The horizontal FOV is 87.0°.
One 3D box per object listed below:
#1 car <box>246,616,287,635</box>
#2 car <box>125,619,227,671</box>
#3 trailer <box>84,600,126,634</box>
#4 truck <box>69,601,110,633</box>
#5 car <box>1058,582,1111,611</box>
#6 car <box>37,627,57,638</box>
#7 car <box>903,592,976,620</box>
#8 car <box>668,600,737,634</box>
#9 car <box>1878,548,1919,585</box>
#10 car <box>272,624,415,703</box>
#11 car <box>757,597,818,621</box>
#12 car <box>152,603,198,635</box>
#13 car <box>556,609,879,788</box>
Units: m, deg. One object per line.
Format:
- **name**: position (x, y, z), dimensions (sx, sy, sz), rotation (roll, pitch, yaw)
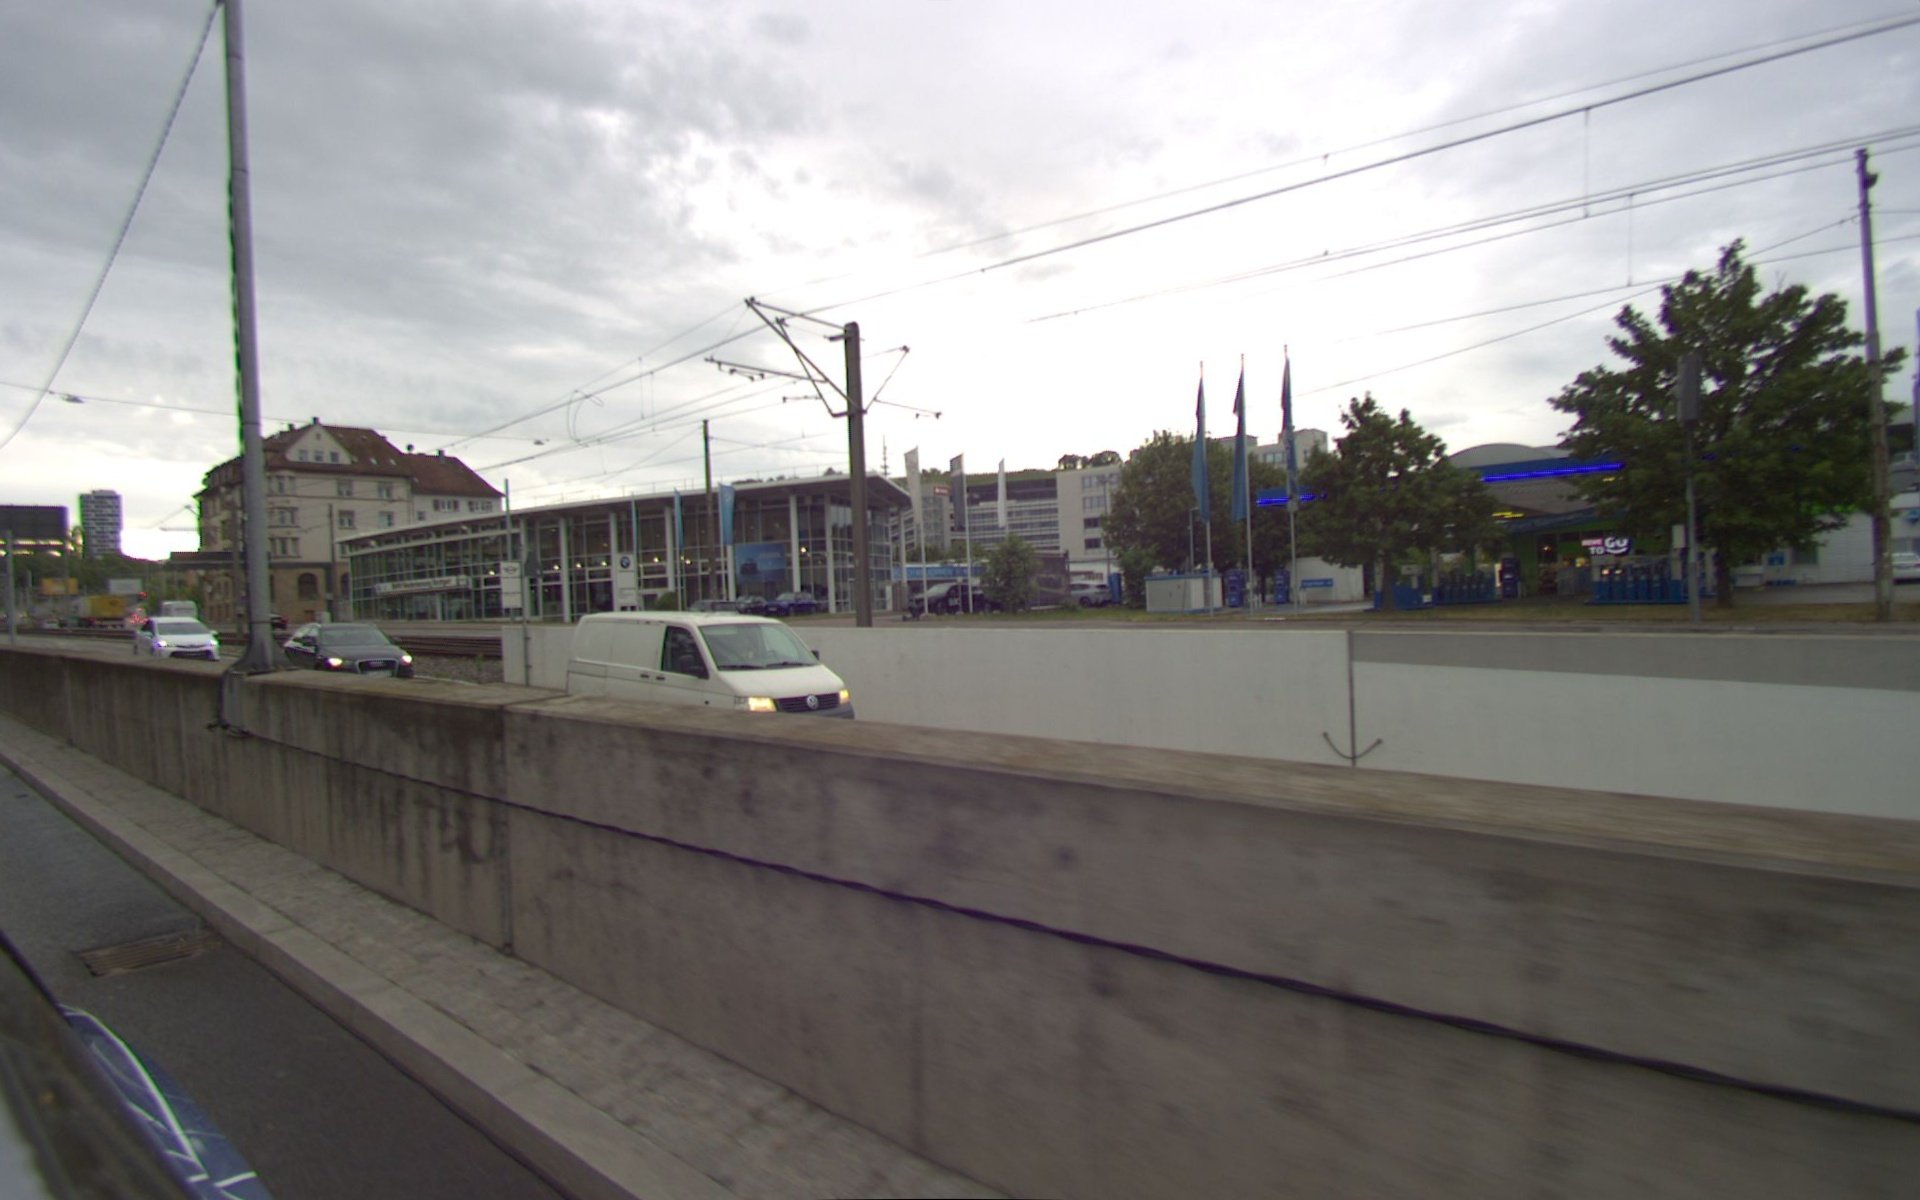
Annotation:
- **car**: position (-56.570, 2.080, 82.555), dimensions (4.338, 1.527, 1.723), rotation (-1, 0, 41)
- **car**: position (-26.640, 1.485, 34.352), dimensions (4.317, 1.585, 1.956), rotation (-2, 0, 41)
- **trailer**: position (-107.811, 2.132, 127.544), dimensions (9.077, 4.082, 2.656), rotation (-1, 0, 41)
- **truck**: position (-115.119, 2.265, 133.770), dimensions (10.136, 4.082, 2.655), rotation (-1, 0, 41)
- **car**: position (7.400, -0.205, 60.372), dimensions (2.798, 1.584, 1.368), rotation (-2, 1, 39)
- **car**: position (-155.674, 5.547, 172.571), dimensions (5.190, 1.888, 1.973), rotation (-2, 0, 41)
- **car**: position (-1.021, 0.299, 51.162), dimensions (1.717, 1.284, 3.476), rotation (-1, 1, 45)
- **car**: position (-10.775, 0.721, 42.279), dimensions (2.799, 1.309, 1.368), rotation (-2, 1, 40)
- **car**: position (45.008, -1.611, 48.210), dimensions (1.857, 1.652, 3.944), rotation (-2, 0, 43)
- **car**: position (-13.988, 1.360, 22.880), dimensions (3.894, 1.585, 1.686), rotation (-2, 0, 41)
- **car**: position (-10.004, 0.505, 58.983), dimensions (1.748, 1.244, 3.973), rotation (-1, 1, 20)
- **car**: position (-69.643, 1.685, 89.755), dimensions (6.161, 2.618, 2.030), rotation (-1, 1, 41)
- **car**: position (-3.432, 1.166, 13.732), dimensions (4.716, 1.973, 1.889), rotation (-2, 0, 42)
